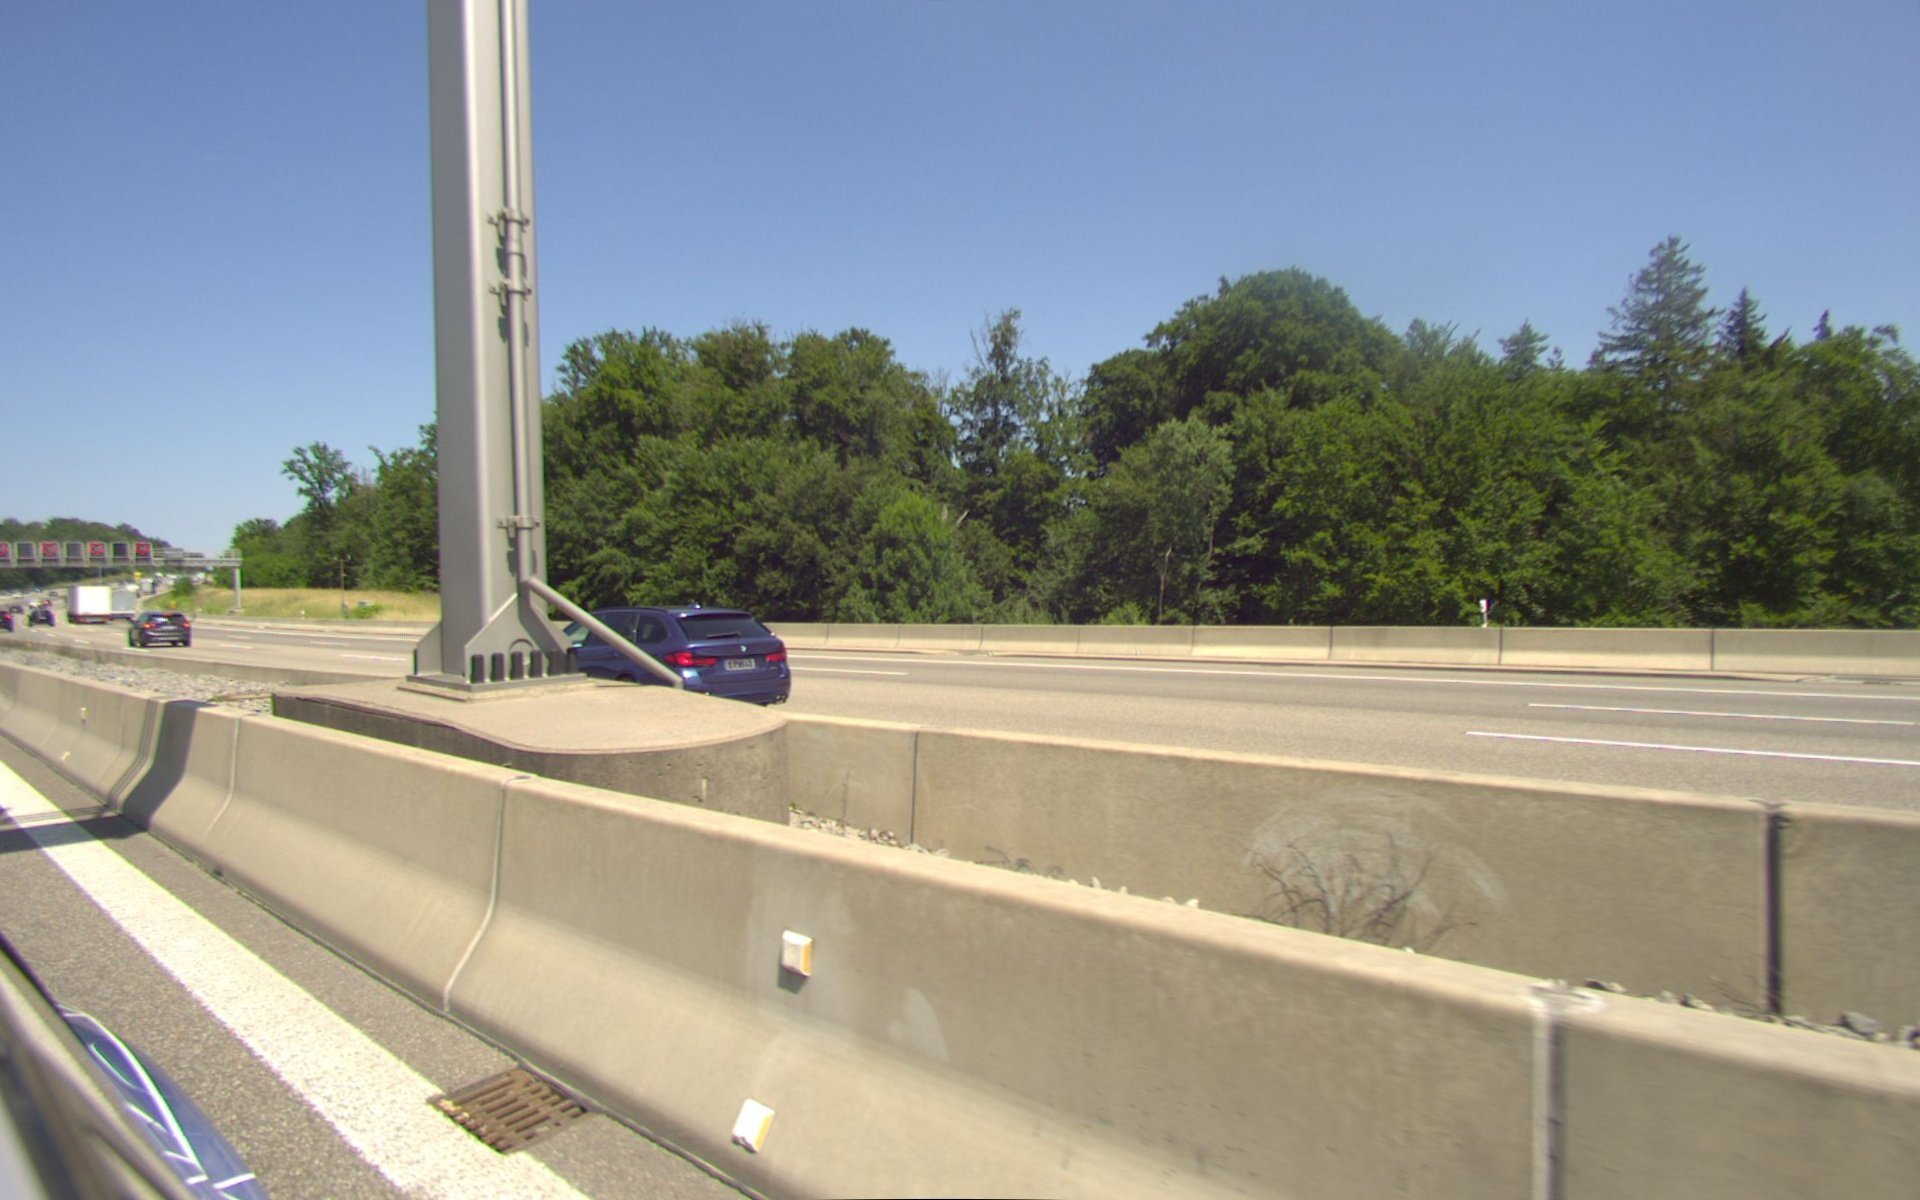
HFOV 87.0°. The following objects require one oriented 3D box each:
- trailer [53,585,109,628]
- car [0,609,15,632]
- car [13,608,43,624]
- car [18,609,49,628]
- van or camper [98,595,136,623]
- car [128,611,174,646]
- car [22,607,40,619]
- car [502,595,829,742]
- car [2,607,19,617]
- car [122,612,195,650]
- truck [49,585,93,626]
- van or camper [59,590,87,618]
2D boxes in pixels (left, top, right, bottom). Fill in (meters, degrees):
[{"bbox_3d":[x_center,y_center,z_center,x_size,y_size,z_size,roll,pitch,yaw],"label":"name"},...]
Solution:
[{"bbox_3d":[-92.636,0.680,106.561,13.957,4.294,2.833,-1,0,42],"label":"trailer"},{"bbox_3d":[-73.846,1.580,77.384,4.434,1.680,1.972,-1,0,42],"label":"car"},{"bbox_3d":[-109.182,1.872,118.497,5.032,1.741,2.262,0,0,44],"label":"car"},{"bbox_3d":[-87.046,1.726,95.043,4.362,1.531,1.742,1,2,43],"label":"car"},{"bbox_3d":[-101.733,1.024,122.032,8.099,3.148,2.733,1,2,45],"label":"van or camper"},{"bbox_3d":[-52.691,1.826,65.907,1.970,2.028,4.003,-2,2,-44],"label":"car"},{"bbox_3d":[-137.188,1.900,149.418,1.720,1.776,5.121,0,-1,-45],"label":"car"},{"bbox_3d":[-3.828,0.727,12.707,4.520,1.530,1.834,-1,0,42],"label":"car"},{"bbox_3d":[-149.942,1.865,159.830,1.970,1.602,4.848,0,0,-44],"label":"car"},{"bbox_3d":[-36.250,1.407,45.726,4.635,1.647,1.736,-2,-1,41],"label":"car"},{"bbox_3d":[-97.326,0.632,110.777,6.451,4.322,2.846,-1,0,42],"label":"truck"},{"bbox_3d":[-131.120,0.539,149.591,2.797,3.867,8.222,-2,2,-44],"label":"van or camper"}]
